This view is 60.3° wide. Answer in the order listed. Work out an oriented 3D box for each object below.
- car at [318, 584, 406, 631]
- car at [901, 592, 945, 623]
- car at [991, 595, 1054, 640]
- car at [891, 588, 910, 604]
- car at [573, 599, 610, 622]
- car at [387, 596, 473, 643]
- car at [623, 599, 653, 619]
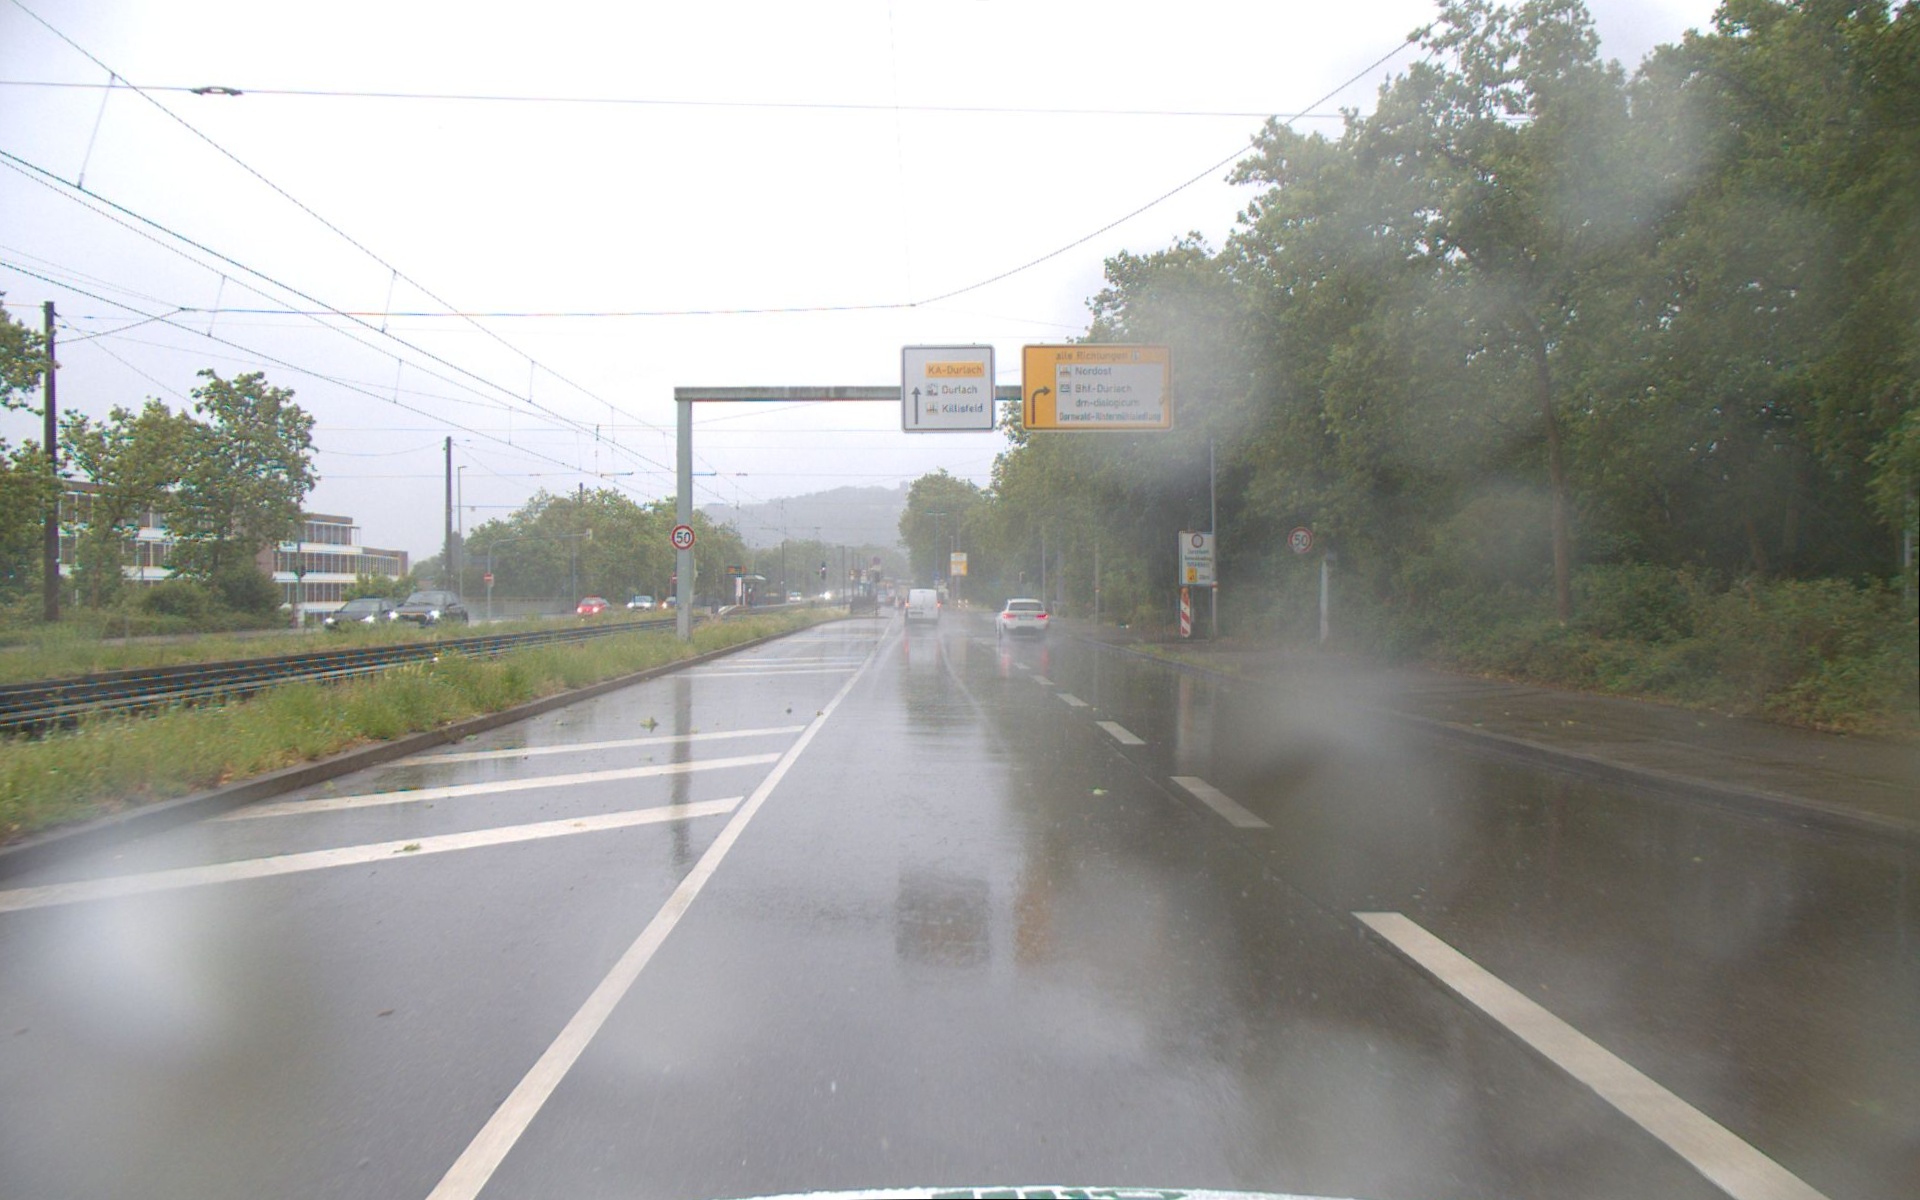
[{"bbox_3d":[-22.527,0.249,62.478,1.905,1.716,4.776,0,0,-5],"label":"car"},{"bbox_3d":[-1.744,0.331,78.432,2.035,1.445,3.999,0,0,-2],"label":"car"},{"bbox_3d":[2.195,0.596,59.291,1.909,1.563,4.464,0,0,-3],"label":"car"},{"bbox_3d":[-6.352,-0.429,176.279,1.953,1.574,3.998,1,0,-2],"label":"car"},{"bbox_3d":[-24.195,0.681,108.643,1.686,1.520,3.998,0,0,-2],"label":"car"},{"bbox_3d":[-19.208,0.671,60.099,1.905,1.644,4.983,0,0,-5],"label":"car"},{"bbox_3d":[-25.122,0.675,129.257,1.686,1.520,3.998,0,0,-2],"label":"car"}]
